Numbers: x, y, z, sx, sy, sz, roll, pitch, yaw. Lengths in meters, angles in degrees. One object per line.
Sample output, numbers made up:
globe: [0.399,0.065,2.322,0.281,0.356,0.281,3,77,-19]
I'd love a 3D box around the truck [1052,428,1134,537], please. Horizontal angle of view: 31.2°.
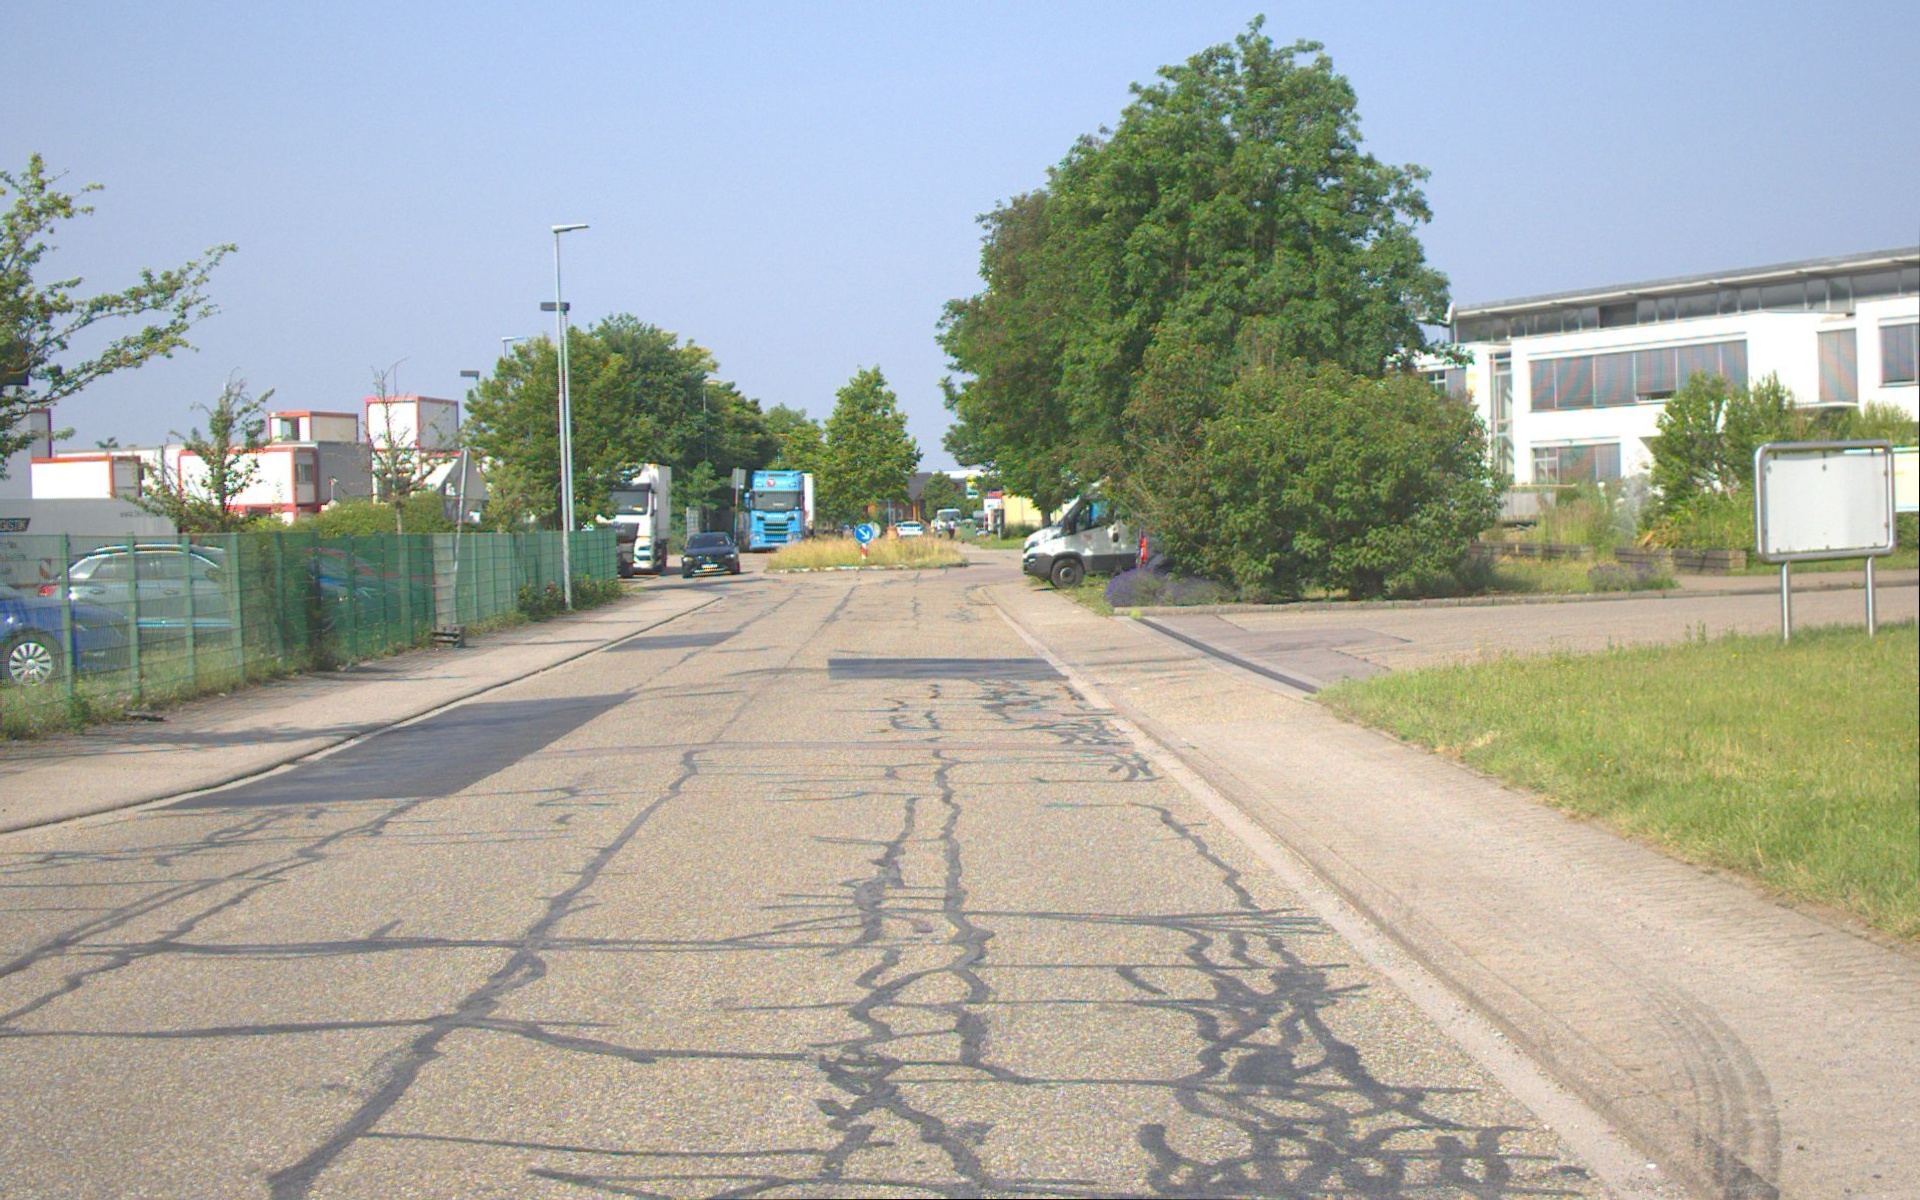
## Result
truck: [5.128,-4.537,133.228,2.746,3.968,4.000,-4,2,0]

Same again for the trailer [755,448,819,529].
trailer: [-8.708,-5.567,173.818,2.831,3.829,12.037,1,1,-1]

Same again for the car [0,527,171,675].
car: [-10.926,0.074,36.257,4.685,1.439,2.078,-3,2,-1]

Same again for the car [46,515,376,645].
car: [-10.381,-0.295,47.844,4.127,1.562,1.865,-3,1,-1]

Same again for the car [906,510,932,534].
car: [-2.962,-5.559,246.183,1.718,1.655,3.824,1,1,-3]

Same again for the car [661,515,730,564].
car: [-8.691,-2.002,113.217,1.993,1.444,4.420,-4,2,-2]

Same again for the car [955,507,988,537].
car: [0.689,-4.640,204.550,1.792,1.744,4.000,1,1,-2]

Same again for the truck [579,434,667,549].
truck: [-11.695,-3.730,119.544,2.708,3.908,4.297,1,1,-1]

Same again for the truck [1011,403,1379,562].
truck: [5.398,-2.697,79.979,8.208,3.358,2.741,-2,1,-1]

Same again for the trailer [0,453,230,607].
trailer: [-24.798,-1.901,96.246,2.483,4.027,13.879,1,1,15]

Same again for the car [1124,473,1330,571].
car: [5.357,-1.579,69.358,3.987,1.831,2.000,-2,1,1]

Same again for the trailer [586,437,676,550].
trailer: [-11.812,-3.789,123.942,2.699,3.908,7.576,1,1,-1]

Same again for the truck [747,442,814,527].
truck: [-8.518,-5.450,163.824,2.825,3.812,9.673,1,1,-1]
